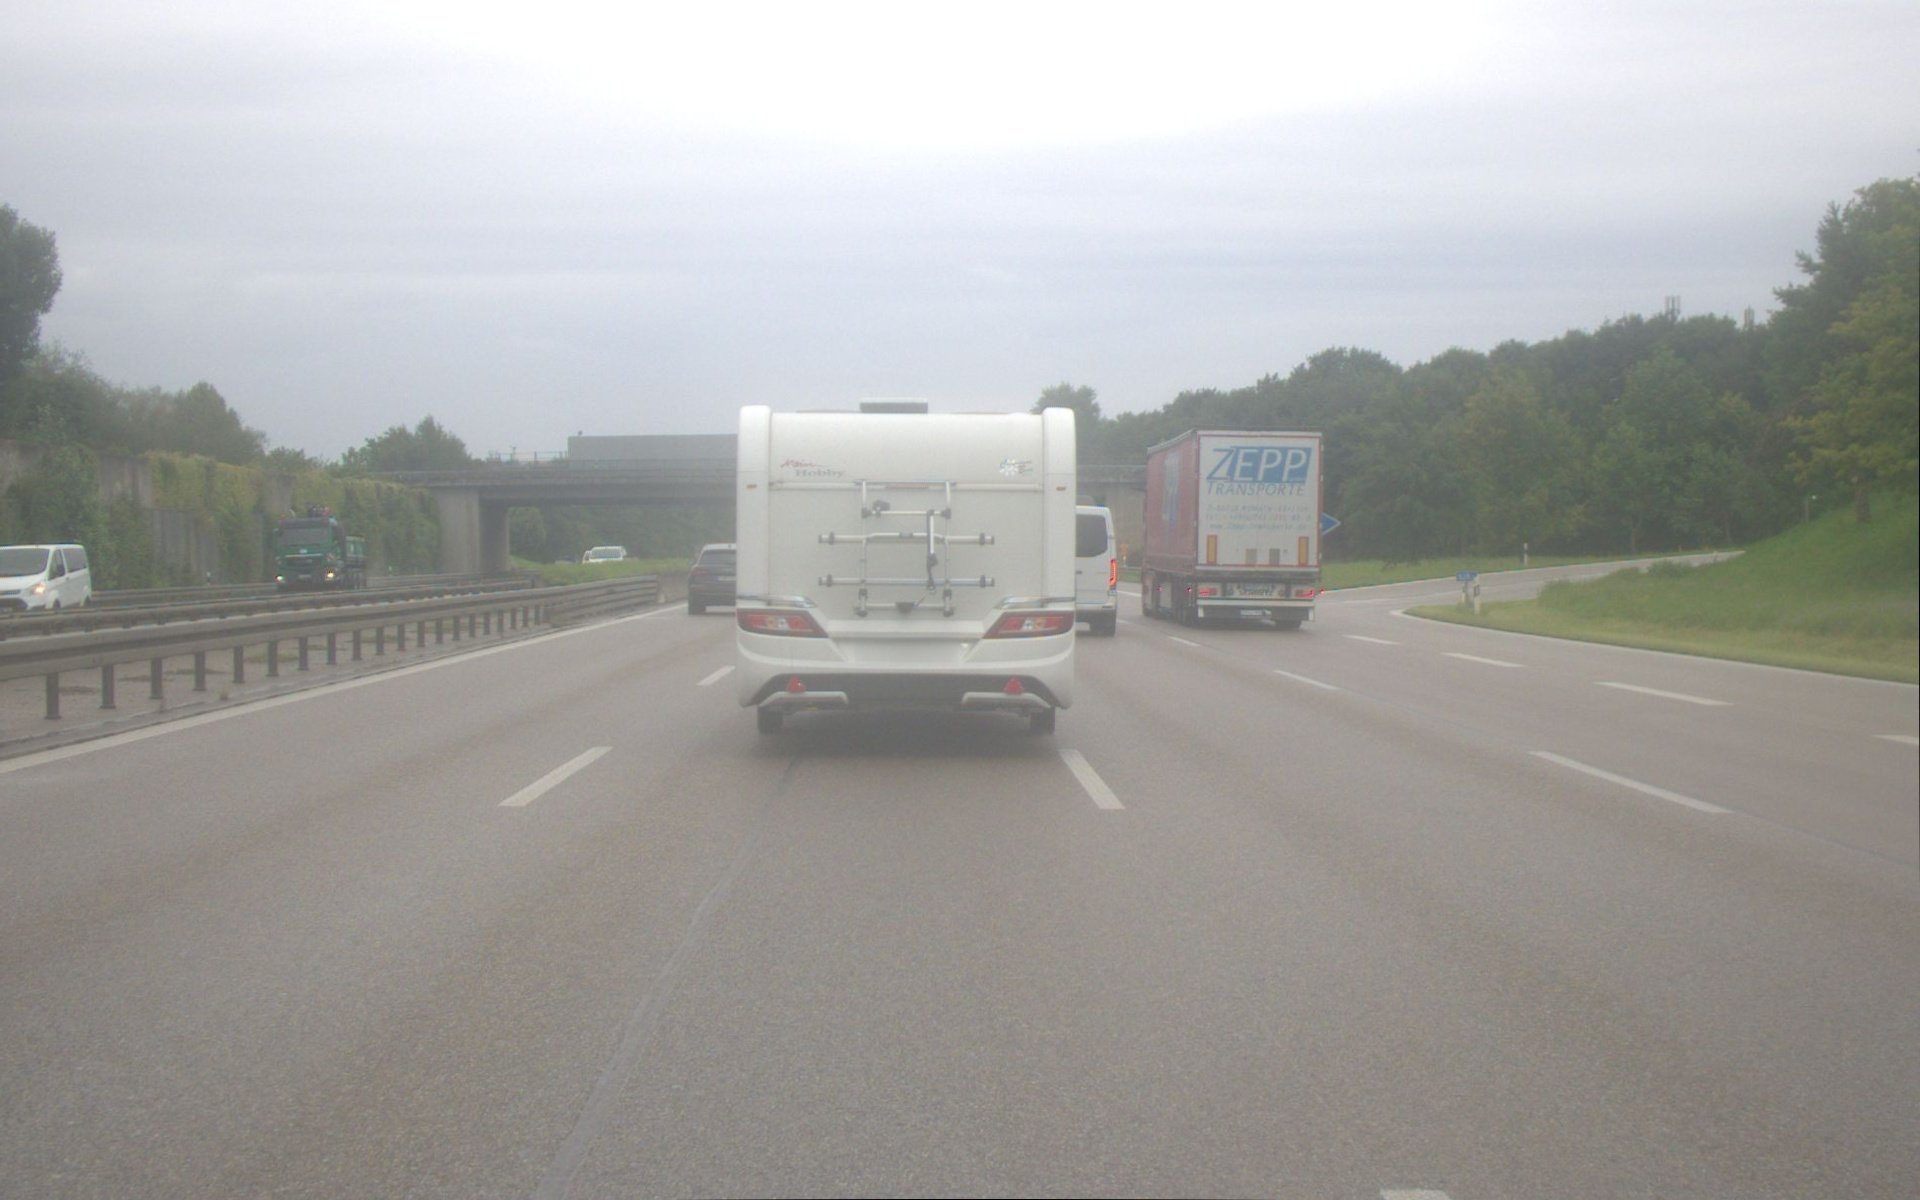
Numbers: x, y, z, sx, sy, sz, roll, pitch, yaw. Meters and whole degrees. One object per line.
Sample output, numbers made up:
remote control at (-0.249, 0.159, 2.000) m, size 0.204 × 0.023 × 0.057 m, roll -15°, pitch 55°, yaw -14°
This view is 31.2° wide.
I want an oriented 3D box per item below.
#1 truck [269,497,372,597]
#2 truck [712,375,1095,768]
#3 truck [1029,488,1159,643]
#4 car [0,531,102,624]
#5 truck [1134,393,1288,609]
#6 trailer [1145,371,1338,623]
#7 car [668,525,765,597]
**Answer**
truck at (-25.067, -2.066, 135.117) m, size 2.691 × 3.764 × 8.338 m, roll 1°, pitch 1°, yaw -2°
truck at (-0.458, -0.226, 26.857) m, size 2.661 × 2.733 × 5.078 m, roll 1°, pitch 1°, yaw -1°
truck at (2.458, -0.649, 64.467) m, size 2.053 × 2.760 × 5.549 m, roll 1°, pitch 1°, yaw -1°
car at (-20.886, -0.521, 77.393) m, size 1.993 × 2.007 × 4.957 m, roll 1°, pitch 1°, yaw -1°
truck at (5.835, -2.276, 80.871) m, size 3.048 × 4.822 × 5.850 m, roll 1°, pitch 1°, yaw -1°
trailer at (5.865, -2.088, 73.652) m, size 3.100 × 4.905 × 11.790 m, roll 1°, pitch 1°, yaw 0°
car at (-5.674, -0.921, 80.688) m, size 1.993 × 1.594 × 5.124 m, roll 1°, pitch 1°, yaw -1°
